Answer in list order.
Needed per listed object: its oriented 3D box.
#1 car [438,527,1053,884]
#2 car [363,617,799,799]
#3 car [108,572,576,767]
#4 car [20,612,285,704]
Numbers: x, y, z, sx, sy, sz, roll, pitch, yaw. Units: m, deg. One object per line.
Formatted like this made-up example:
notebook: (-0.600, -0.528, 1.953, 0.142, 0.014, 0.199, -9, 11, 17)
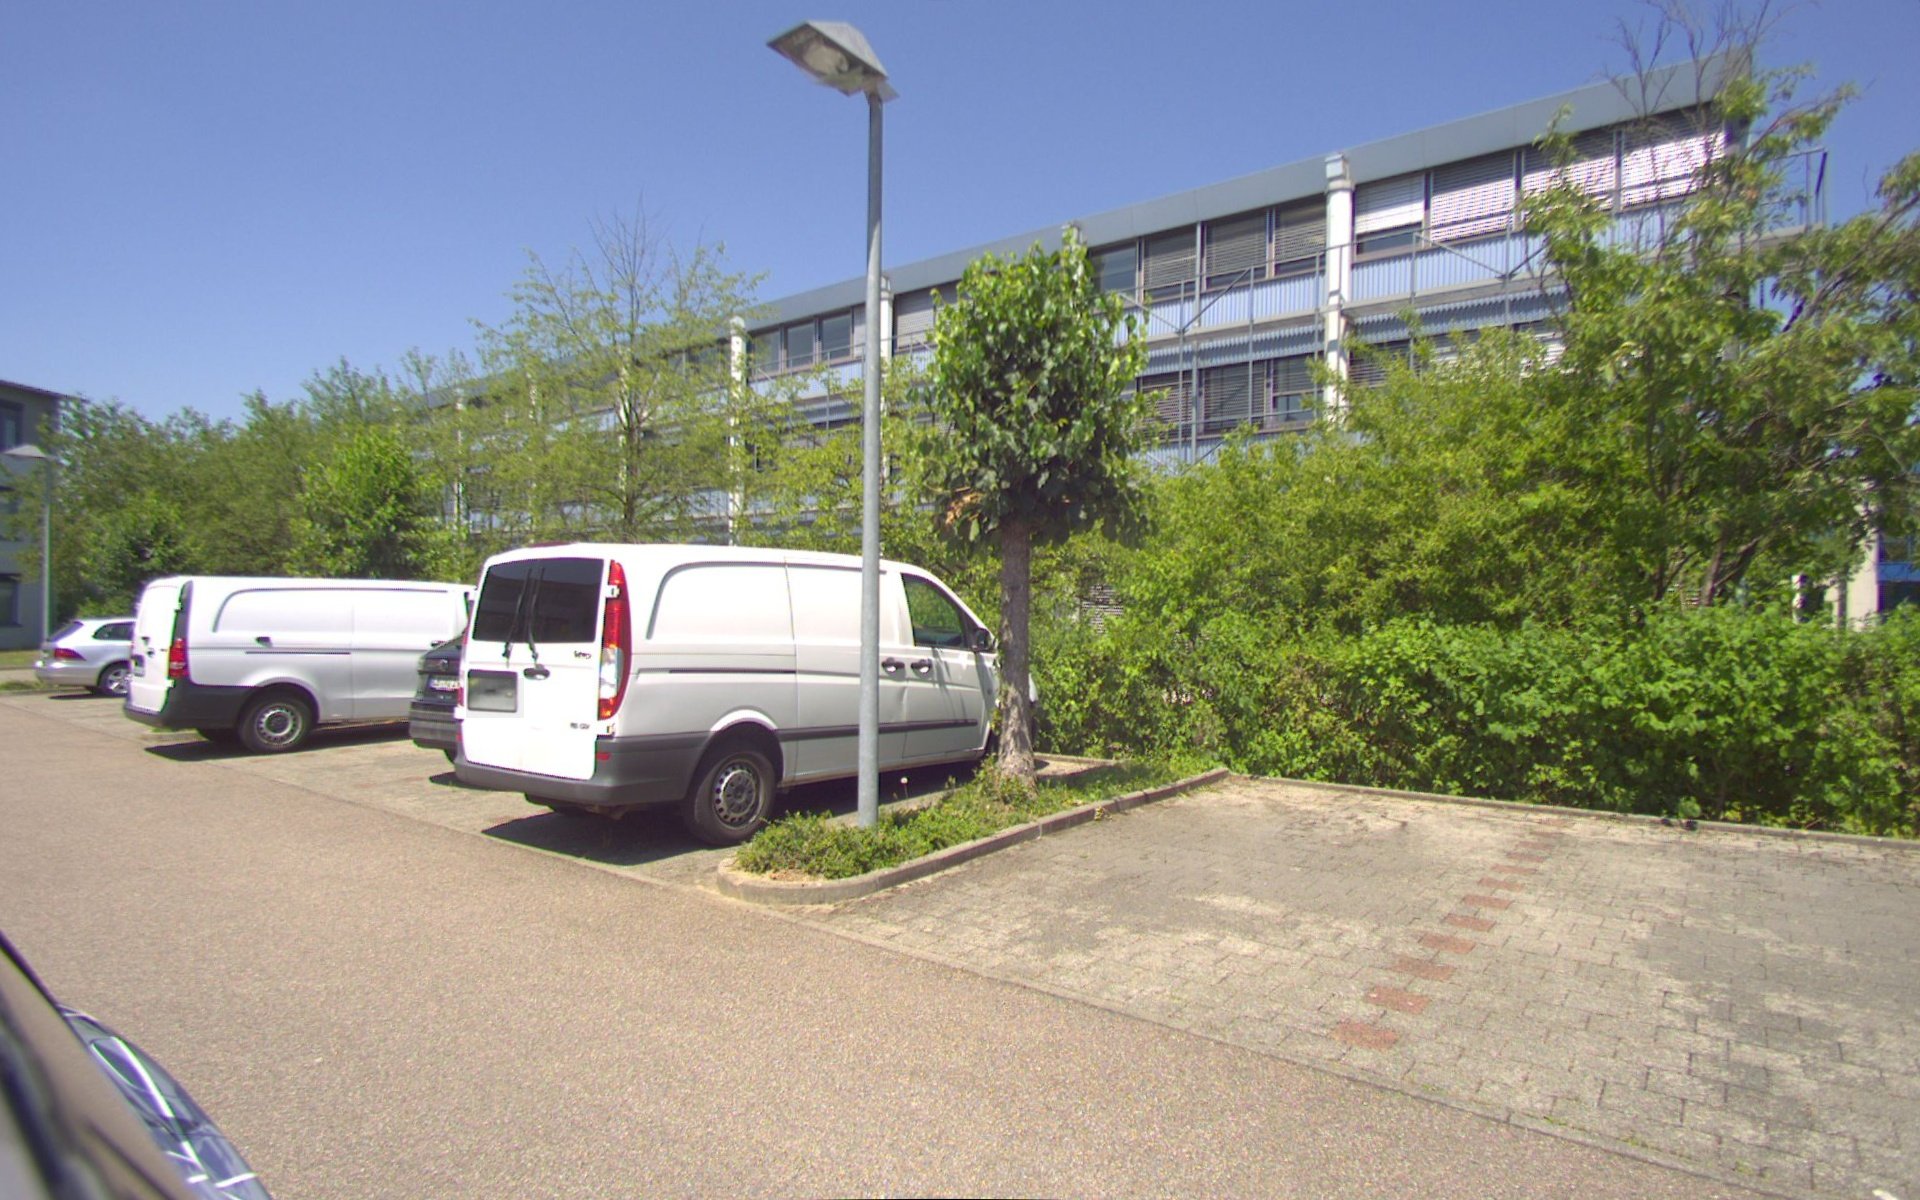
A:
car: (-1.270, 0.594, 7.885, 1.826, 1.920, 4.677, -1, -1, 36)
car: (-3.512, 0.890, 9.980, 1.574, 1.404, 3.804, -1, -1, 36)
car: (-7.141, 0.700, 12.168, 1.826, 1.896, 4.465, -1, -1, 36)
car: (-15.420, 1.028, 19.491, 1.658, 1.569, 3.719, -1, -1, 36)
